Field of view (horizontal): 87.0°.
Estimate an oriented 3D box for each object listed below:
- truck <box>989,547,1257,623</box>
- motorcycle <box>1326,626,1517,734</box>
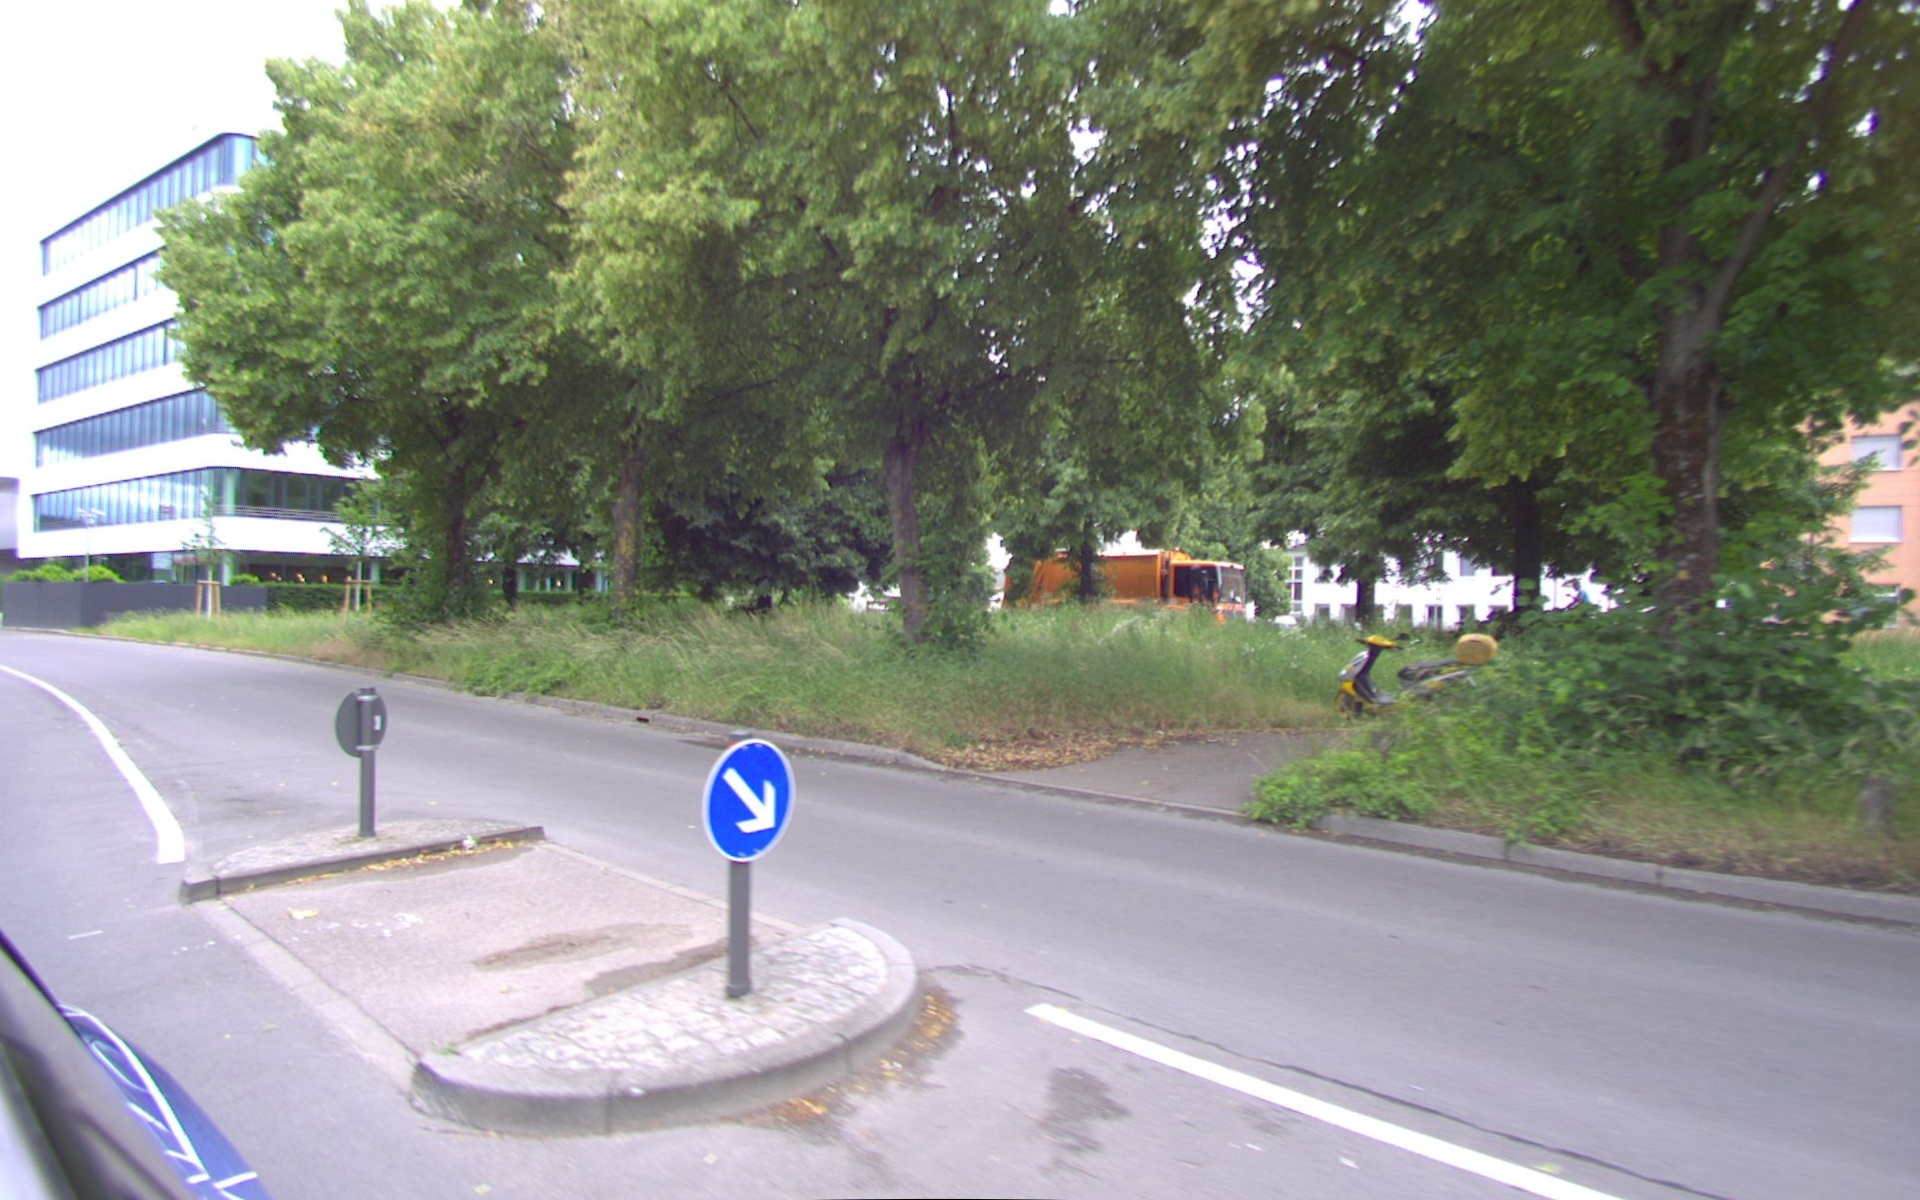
[{"bbox_3d":[5.938,-0.441,38.786,10.247,2.541,2.941,-1,-2,43],"label":"truck"},{"bbox_3d":[5.516,0.916,12.199,0.559,1.177,2.037,3,-2,-44],"label":"motorcycle"}]
